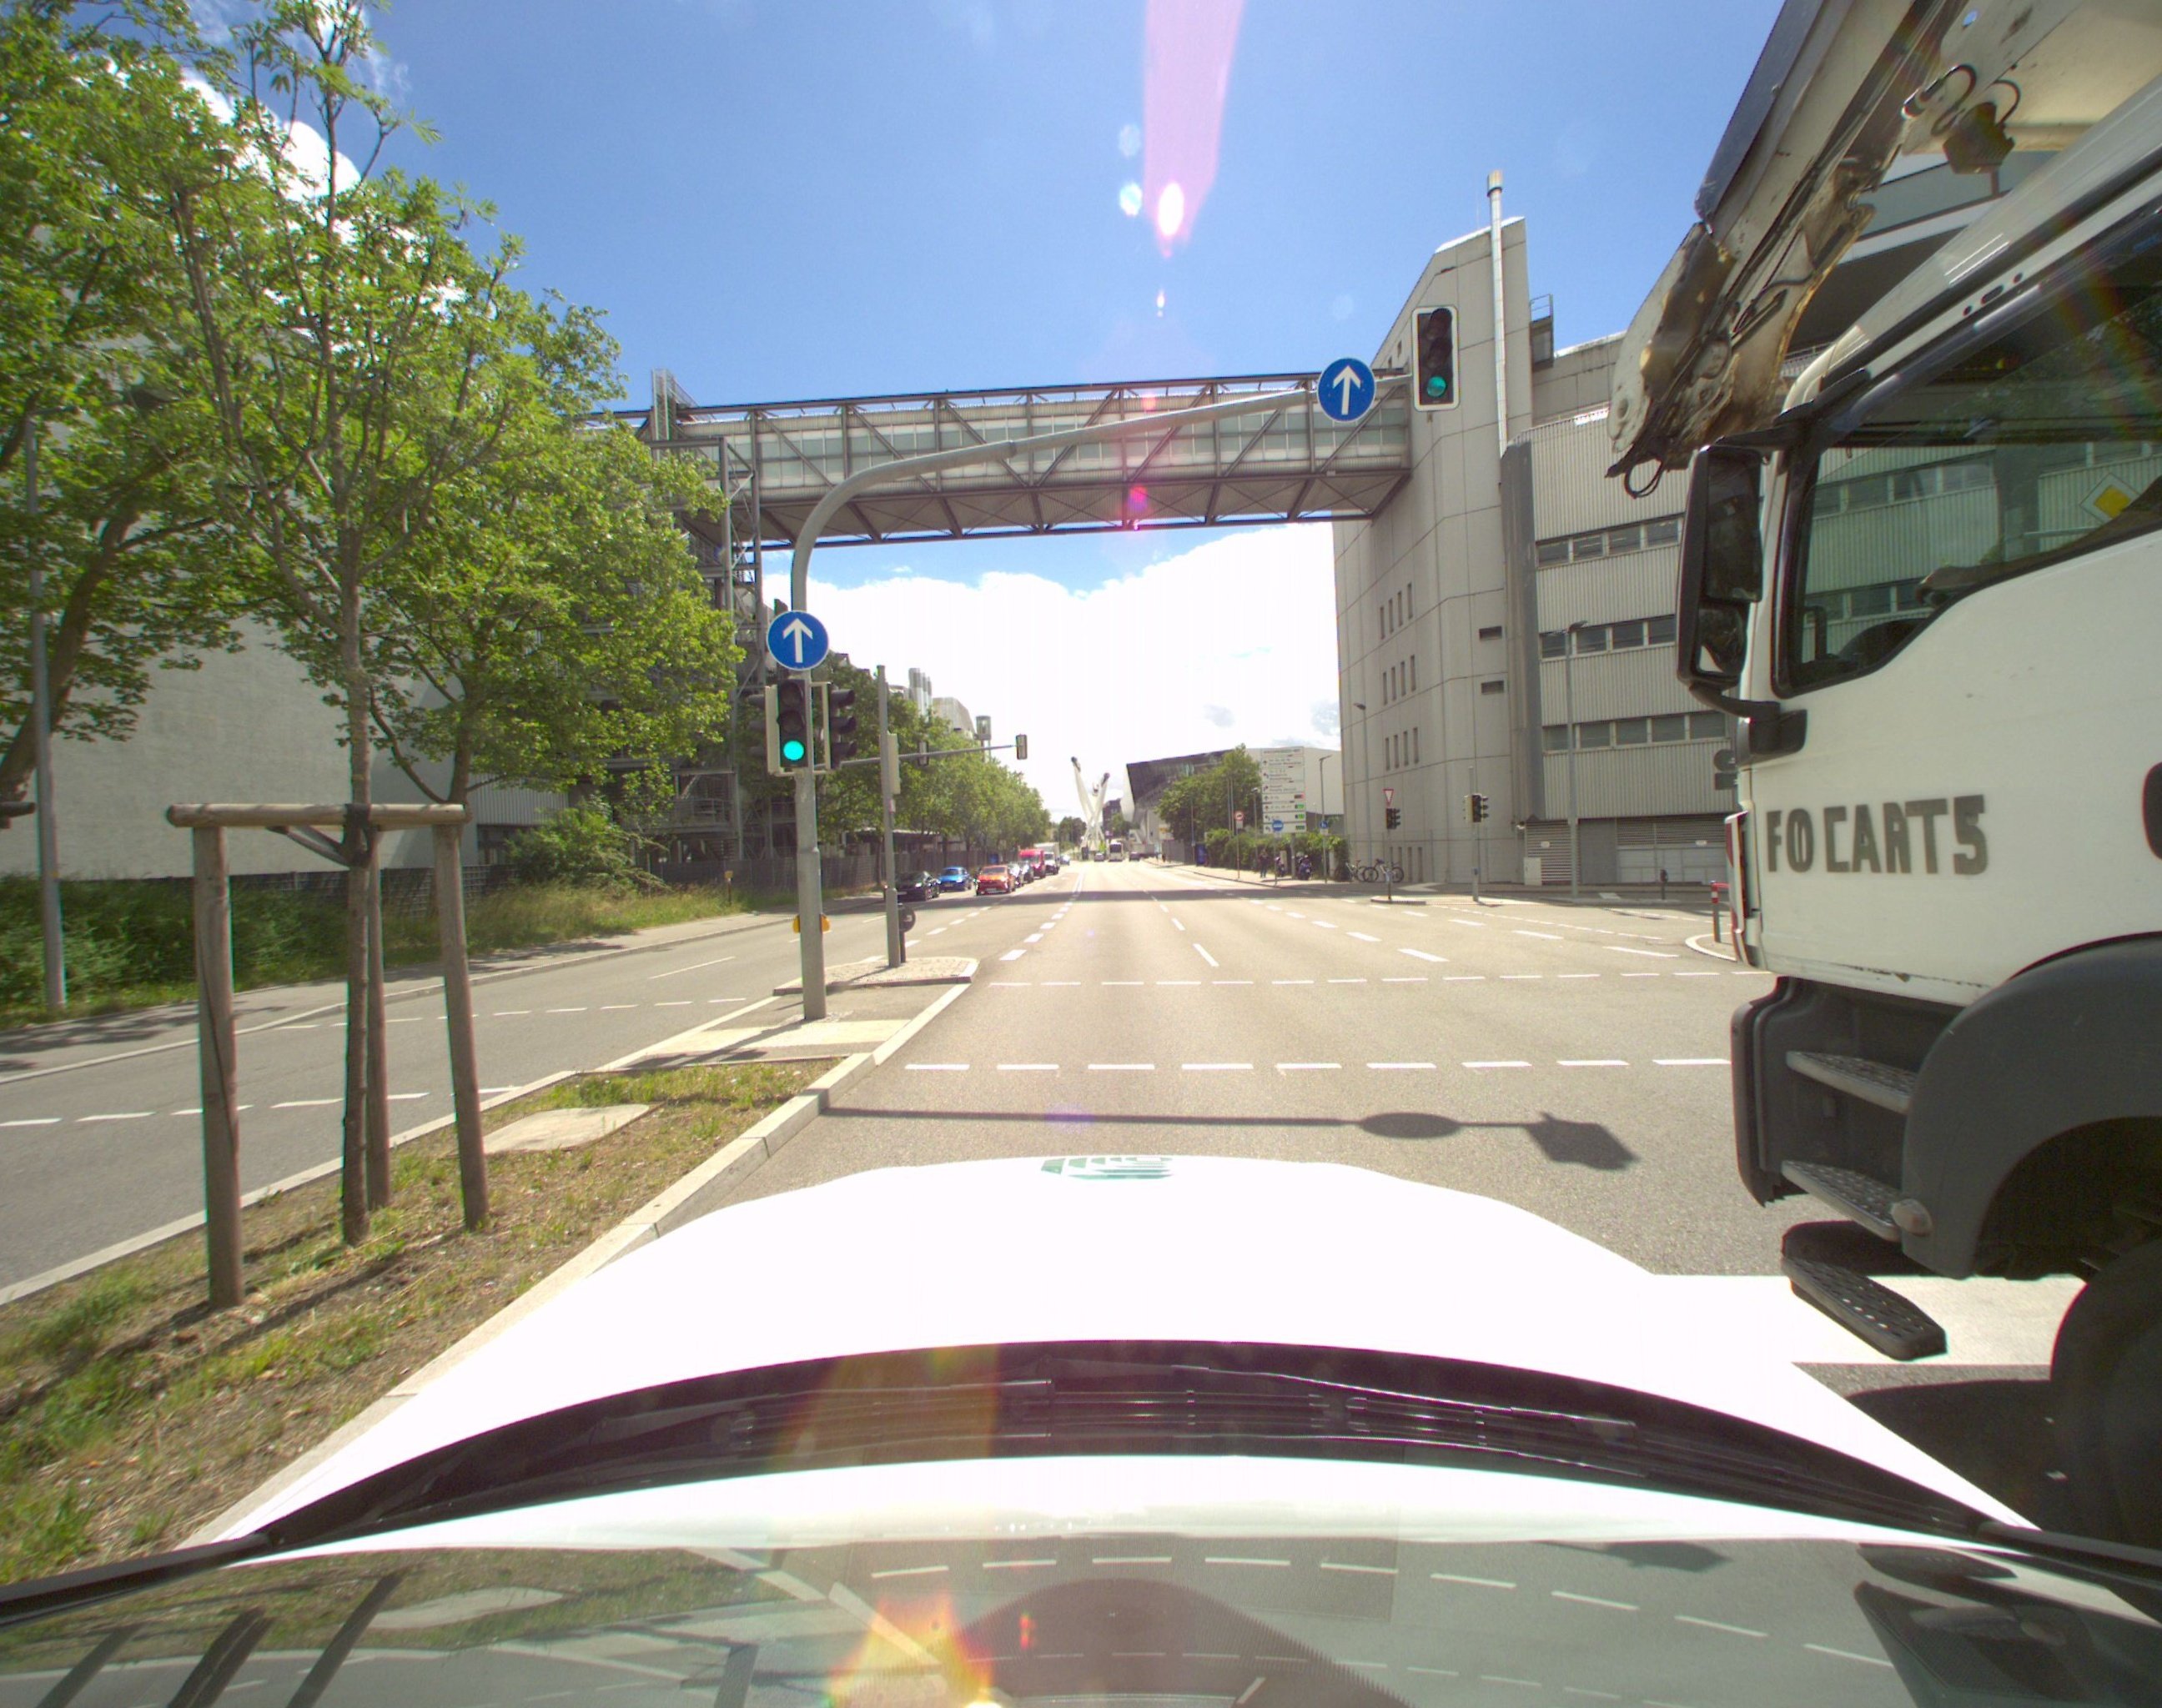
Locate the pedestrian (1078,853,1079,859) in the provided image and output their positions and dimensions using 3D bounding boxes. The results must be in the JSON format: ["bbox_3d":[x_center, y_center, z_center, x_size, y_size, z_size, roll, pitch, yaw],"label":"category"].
[{"bbox_3d":[-0.551,0.406,177.456,0.385,1.421,0.423,0,-1,-2],"label":"pedestrian"}]

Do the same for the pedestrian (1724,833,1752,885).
[{"bbox_3d":[22.515,0.163,27.915,0.650,1.760,0.487,-1,2,29],"label":"pedestrian"}]

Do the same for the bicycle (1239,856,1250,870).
[{"bbox_3d":[12.770,0.709,63.625,0.417,1.022,1.911,0,-1,-2],"label":"bicycle"}]

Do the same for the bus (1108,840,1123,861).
[{"bbox_3d":[6.319,-0.601,148.809,2.776,3.686,6.947,0,-1,3],"label":"bus"}]

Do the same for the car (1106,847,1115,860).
[{"bbox_3d":[6.359,-0.131,174.863,1.836,2.624,4.003,0,-1,3],"label":"car"}]

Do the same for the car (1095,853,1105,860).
[{"bbox_3d":[3.418,0.466,147.271,1.551,1.273,3.704,-4,0,3],"label":"car"}]

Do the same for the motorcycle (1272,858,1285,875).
[{"bbox_3d":[12.199,0.769,50.367,0.455,1.022,1.914,0,-1,4],"label":"motorcycle"}]

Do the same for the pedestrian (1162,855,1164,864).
[{"bbox_3d":[12.534,0.799,124.639,0.384,1.421,0.424,0,-1,2],"label":"pedestrian"}]

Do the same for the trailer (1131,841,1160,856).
[{"bbox_3d":[13.692,-1.043,171.965,3.291,2.995,10.429,-1,-1,21],"label":"trailer"}]

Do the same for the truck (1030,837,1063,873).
[{"bbox_3d":[-3.359,0.167,79.911,2.581,3.324,7.083,0,-1,3],"label":"truck"}]

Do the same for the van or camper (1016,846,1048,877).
[{"bbox_3d":[-4.048,0.639,68.588,2.038,2.466,5.598,-1,0,3],"label":"van or camper"}]

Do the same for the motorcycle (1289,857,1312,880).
[{"bbox_3d":[11.665,0.776,43.391,0.418,1.166,1.951,0,-1,-9],"label":"motorcycle"}]

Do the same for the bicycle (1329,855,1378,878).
[{"bbox_3d":[13.092,0.624,39.199,2.196,1.087,0.480,-1,-1,37],"label":"bicycle"}]

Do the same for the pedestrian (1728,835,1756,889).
[{"bbox_3d":[22.206,0.270,27.368,0.650,1.755,0.524,-1,3,29],"label":"pedestrian"}]

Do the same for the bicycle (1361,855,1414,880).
[{"bbox_3d":[13.885,0.613,36.901,2.166,1.087,0.480,-1,-1,37],"label":"bicycle"}]

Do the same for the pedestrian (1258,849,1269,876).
[{"bbox_3d":[11.209,0.501,50.044,0.532,1.640,0.657,0,-1,-4],"label":"pedestrian"}]

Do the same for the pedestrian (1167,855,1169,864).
[{"bbox_3d":[13.326,0.853,124.904,0.384,1.421,0.424,0,-1,2],"label":"pedestrian"}]

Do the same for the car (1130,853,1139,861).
[{"bbox_3d":[9.519,0.582,145.352,1.551,1.273,3.704,-4,0,3],"label":"car"}]

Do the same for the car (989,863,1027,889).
[{"bbox_3d":[-4.469,1.318,50.335,1.762,1.420,3.703,-4,0,3],"label":"car"}]

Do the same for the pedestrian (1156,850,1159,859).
[{"bbox_3d":[12.147,0.149,128.947,0.384,1.421,0.424,0,-1,2],"label":"pedestrian"}]

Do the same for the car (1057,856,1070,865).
[{"bbox_3d":[-2.685,0.944,125.120,1.551,1.273,3.703,-4,0,3],"label":"car"}]

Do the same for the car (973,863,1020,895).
[{"bbox_3d":[-4.298,1.265,41.923,1.762,1.420,3.703,-4,0,3],"label":"car"}]

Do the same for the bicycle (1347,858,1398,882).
[{"bbox_3d":[13.524,0.737,37.854,2.196,1.087,0.480,-1,-1,37],"label":"bicycle"}]

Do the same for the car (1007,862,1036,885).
[{"bbox_3d":[-4.200,1.346,58.049,1.551,1.448,3.775,-4,0,3],"label":"car"}]

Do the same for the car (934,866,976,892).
[{"bbox_3d":[-7.691,1.529,49.927,1.720,1.382,3.703,-4,0,3],"label":"car"}]

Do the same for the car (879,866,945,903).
[{"bbox_3d":[-8.186,1.433,39.826,1.910,1.488,4.775,-4,0,3],"label":"car"}]
